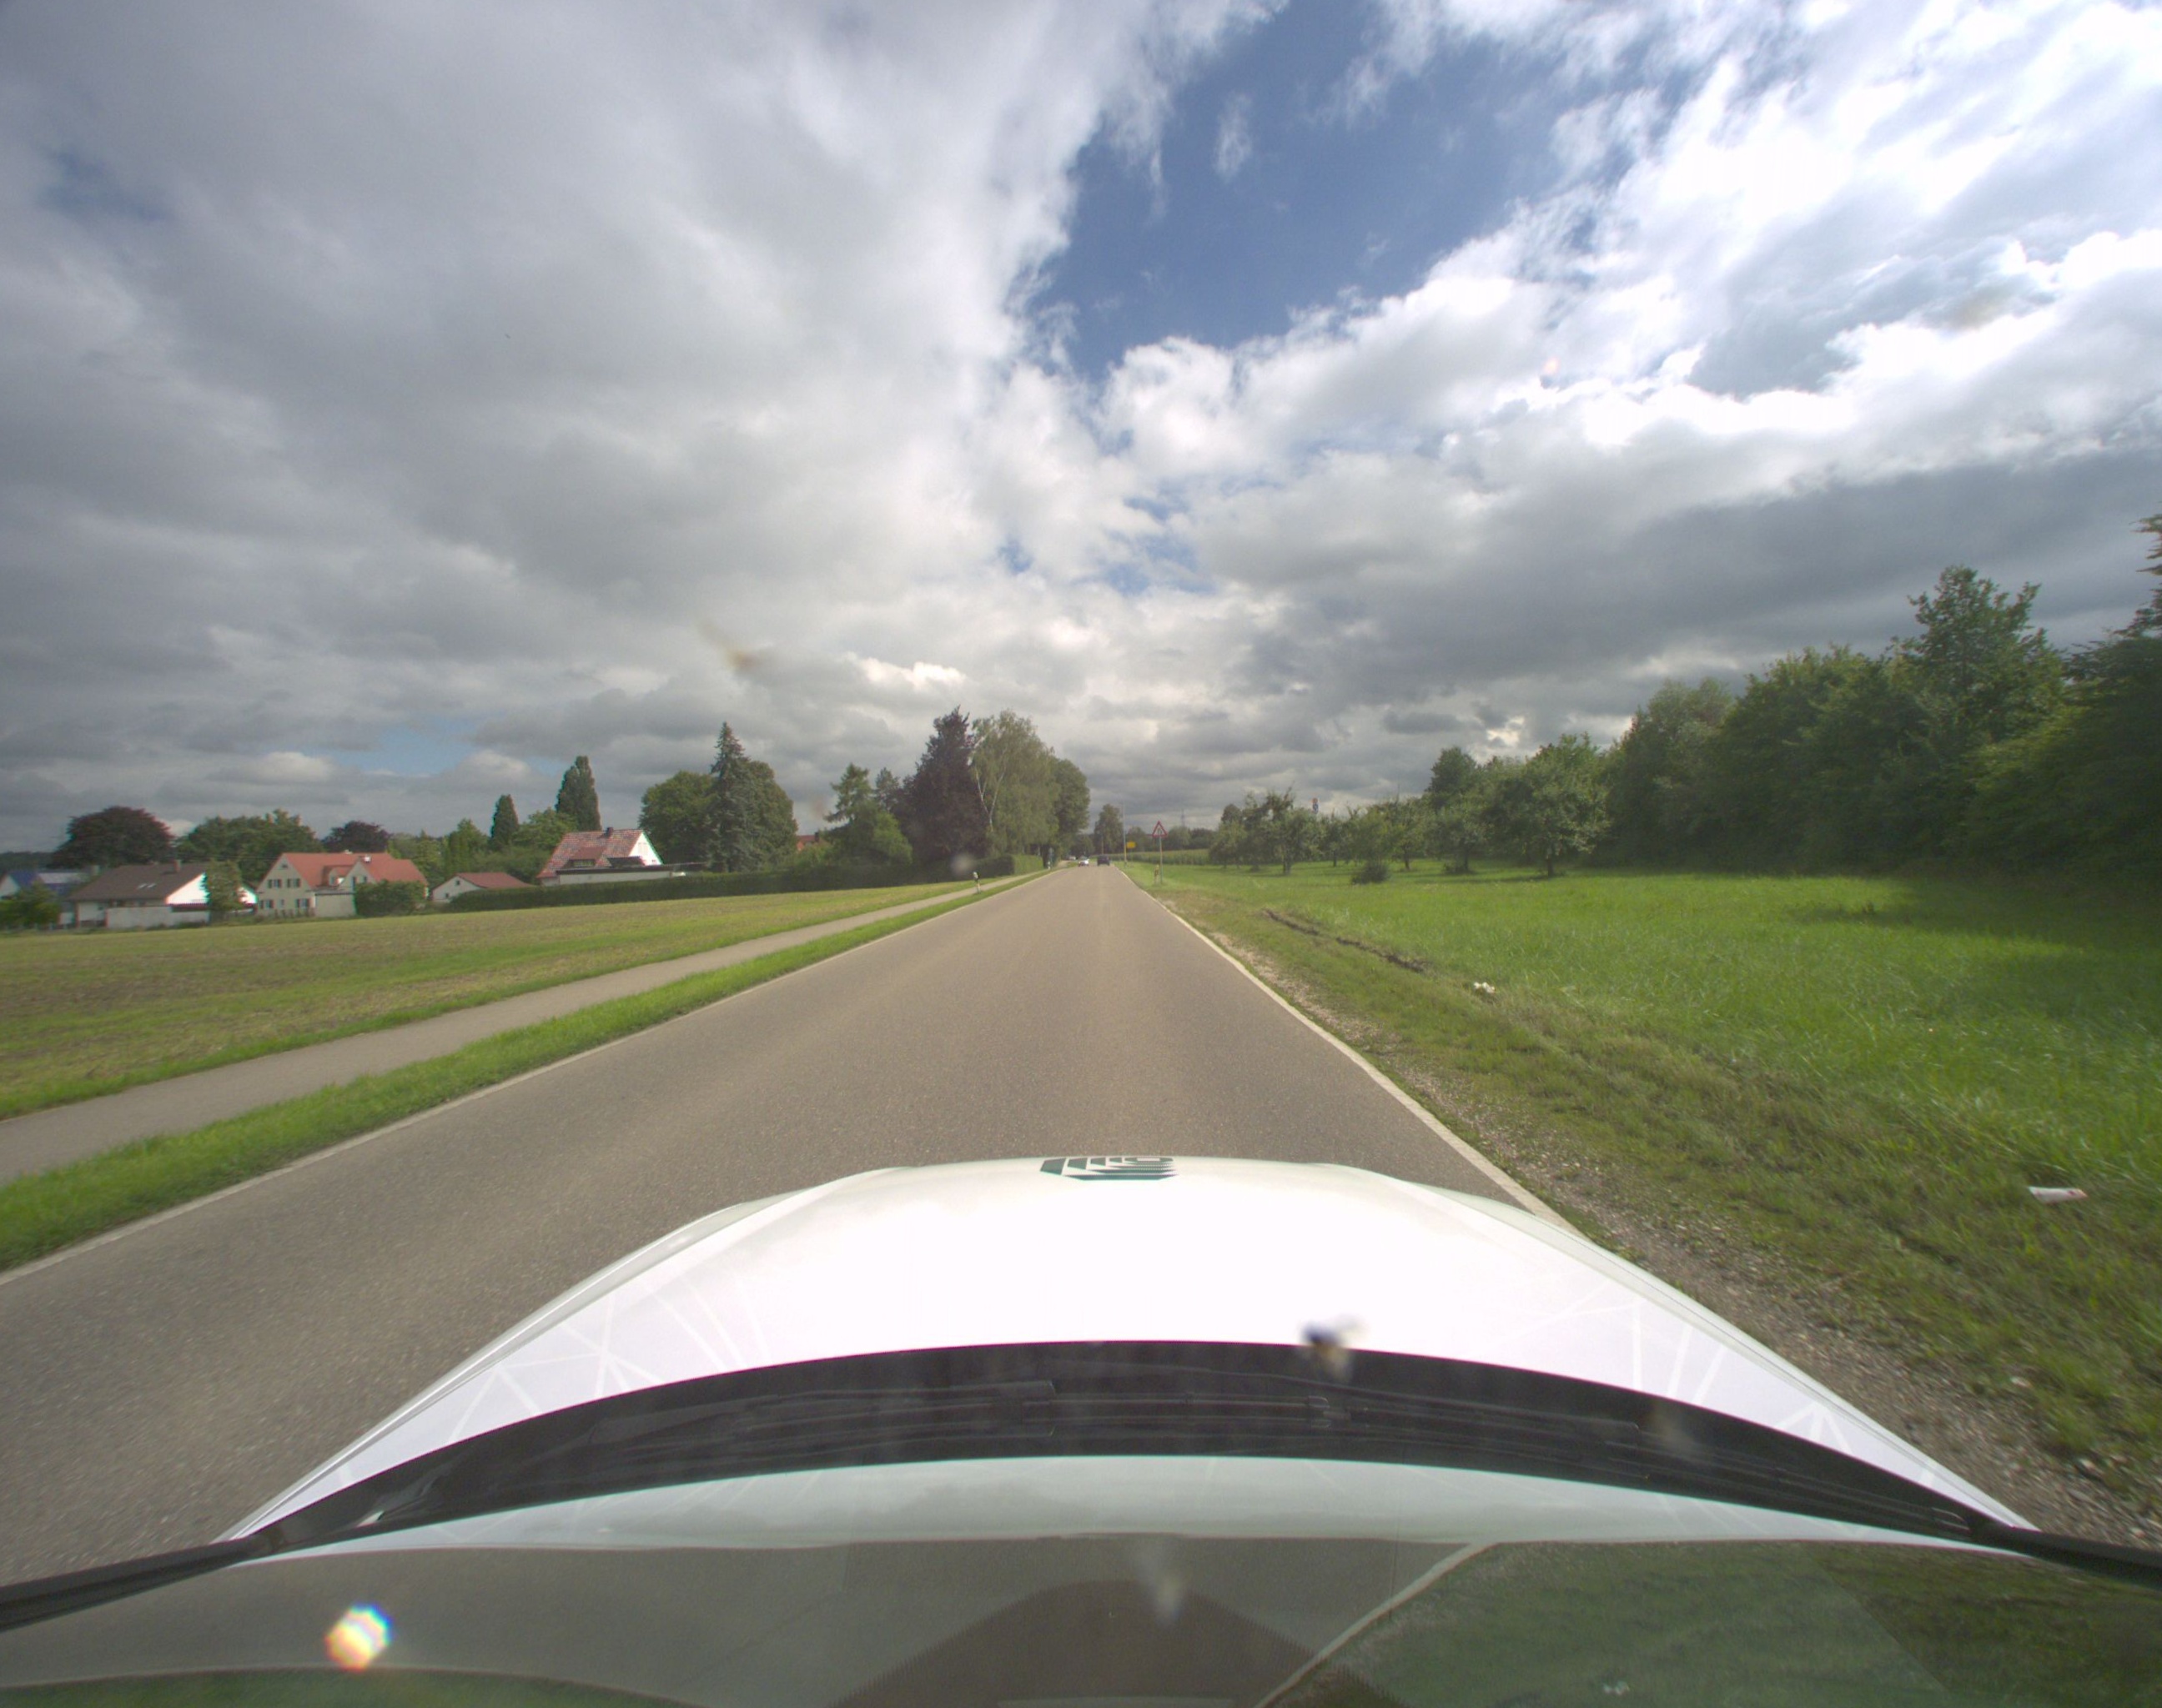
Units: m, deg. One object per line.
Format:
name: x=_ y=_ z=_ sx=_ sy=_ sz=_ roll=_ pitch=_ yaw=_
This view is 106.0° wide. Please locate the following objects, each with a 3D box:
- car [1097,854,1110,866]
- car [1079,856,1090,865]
car: x=3.400 y=0.889 z=124.930 sx=1.900 sy=1.666 sz=4.001 roll=-3 pitch=0 yaw=1
car: x=0.587 y=1.086 z=133.668 sx=1.688 sy=1.459 sz=3.544 roll=-2 pitch=0 yaw=2
